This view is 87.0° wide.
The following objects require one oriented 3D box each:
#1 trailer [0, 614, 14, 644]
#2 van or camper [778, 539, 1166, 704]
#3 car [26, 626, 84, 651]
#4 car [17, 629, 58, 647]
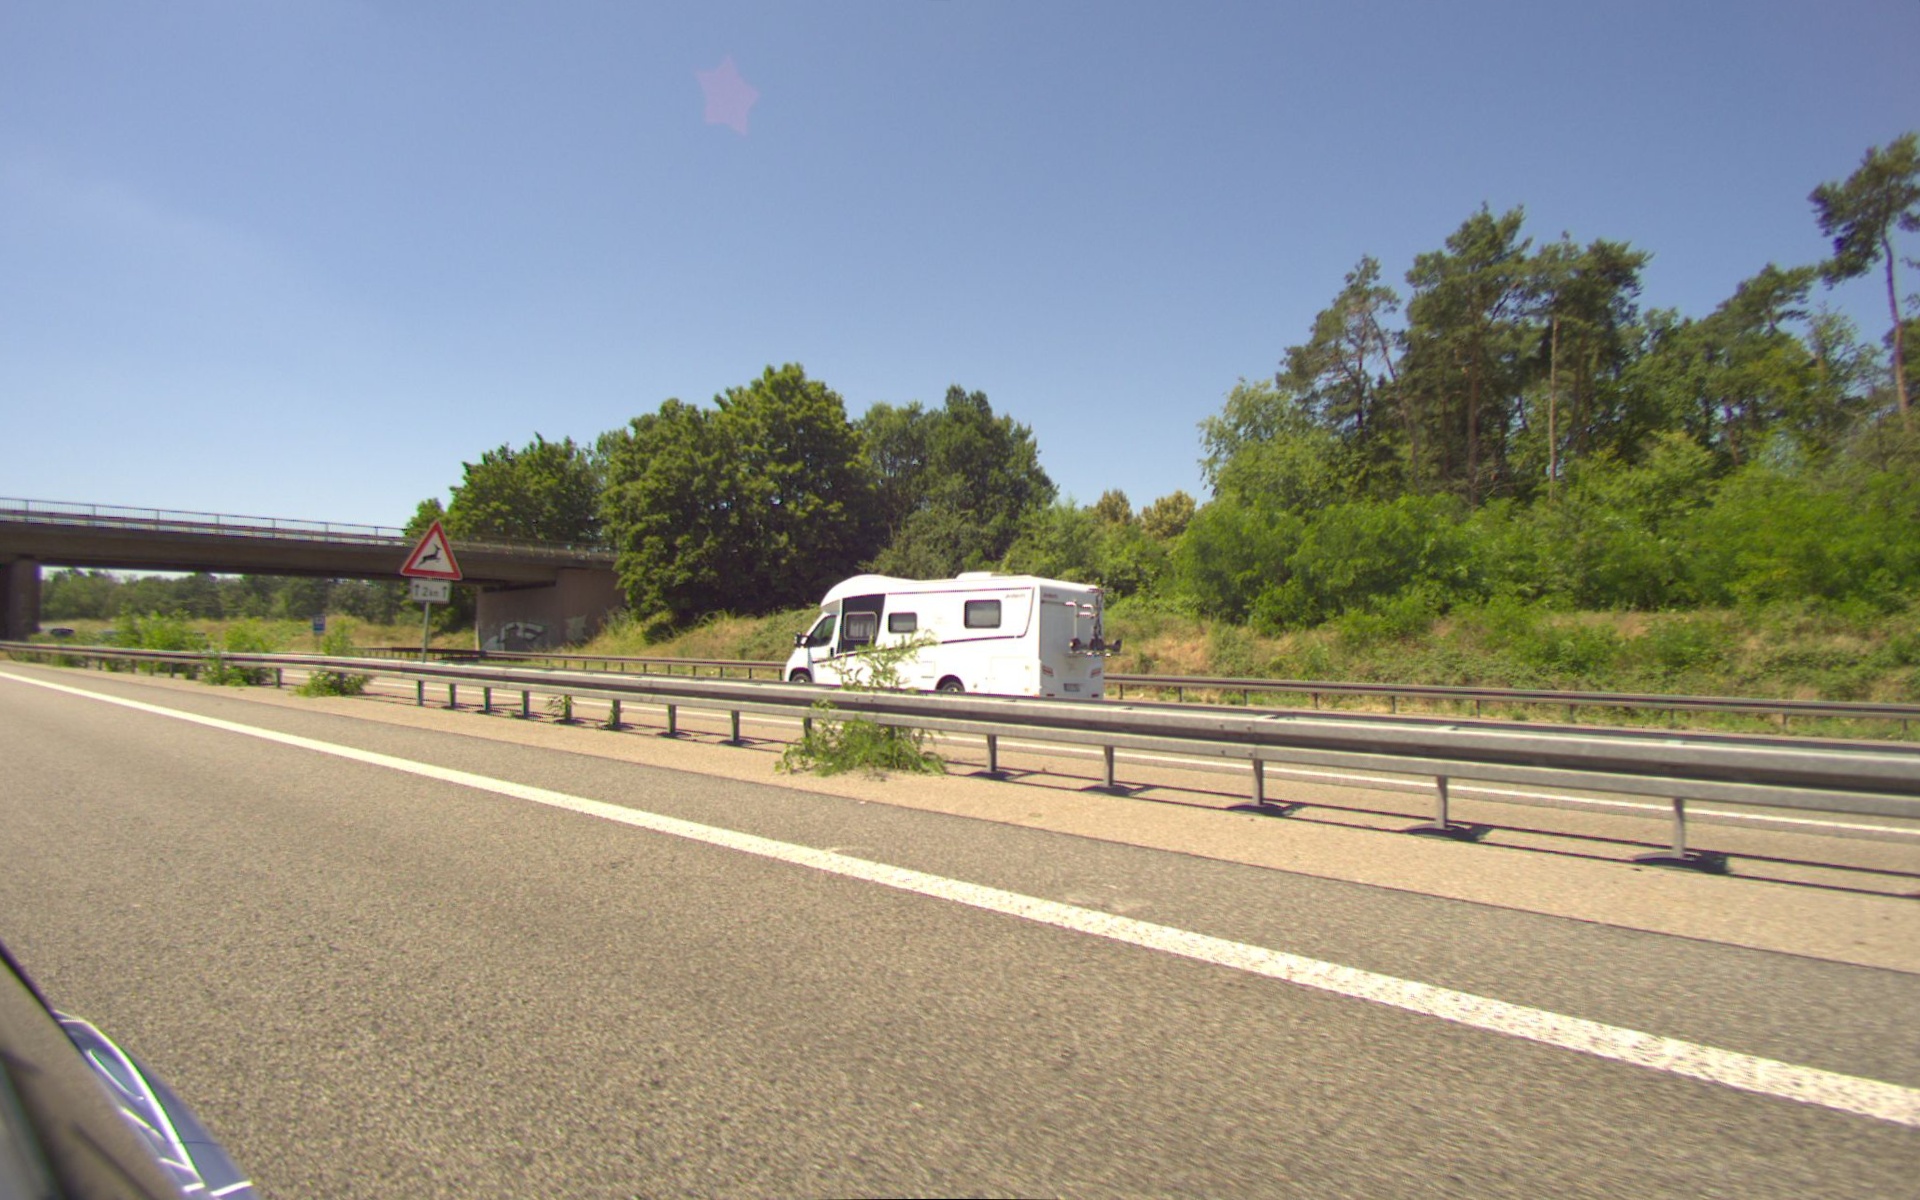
[{"bbox_3d":[-138.288,4.159,144.443,14.092,4.140,2.919,-2,-5,41],"label":"trailer"},{"bbox_3d":[-0.109,0.486,21.093,8.557,2.832,2.475,-1,-3,41],"label":"van or camper"},{"bbox_3d":[-61.652,2.628,68.908,5.056,1.623,2.205,-2,-5,40],"label":"car"},{"bbox_3d":[-88.714,3.651,97.302,5.056,1.623,2.205,-2,-5,40],"label":"car"}]
